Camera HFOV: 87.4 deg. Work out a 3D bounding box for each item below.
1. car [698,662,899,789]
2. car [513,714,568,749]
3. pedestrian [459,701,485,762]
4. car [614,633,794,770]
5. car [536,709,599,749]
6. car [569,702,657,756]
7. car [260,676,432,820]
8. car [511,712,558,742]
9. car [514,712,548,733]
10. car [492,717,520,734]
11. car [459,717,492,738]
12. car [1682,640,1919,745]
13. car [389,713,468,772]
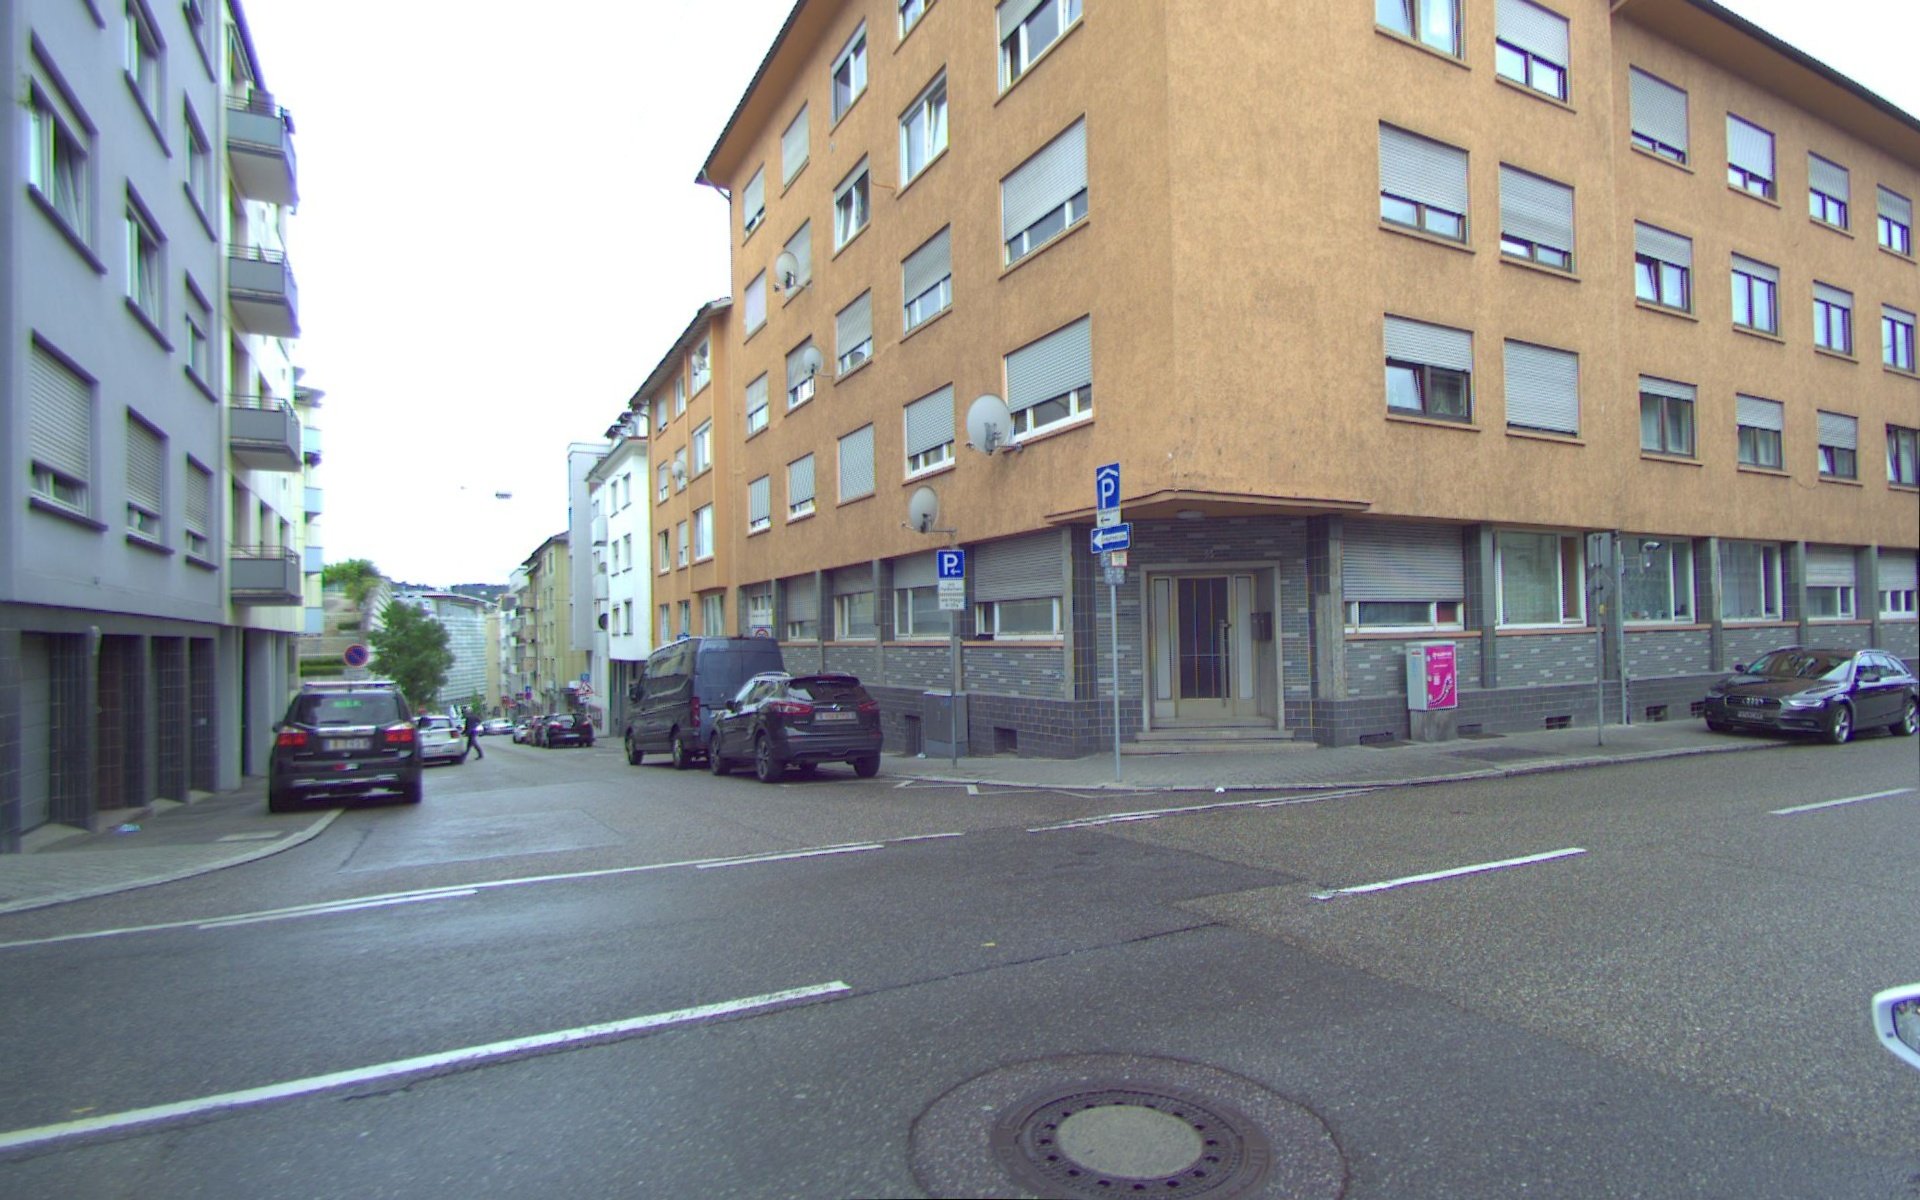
[{"bbox_3d":[-2.687,1.945,15.871,1.906,1.673,3.974,0,-6,-28],"label":"car"},{"bbox_3d":[-19.649,6.121,46.975,1.907,1.478,3.971,1,-6,-30],"label":"car"},{"bbox_3d":[-15.700,4.221,32.297,0.713,1.840,0.600,0,0,-30],"label":"pedestrian"},{"bbox_3d":[-5.526,2.133,21.073,1.962,2.490,5.312,1,-6,-34],"label":"car"},{"bbox_3d":[-16.537,5.413,42.242,1.907,1.478,3.971,1,-6,-30],"label":"car"},{"bbox_3d":[-11.016,4.047,31.712,1.907,1.478,3.971,1,-6,-30],"label":"car"},{"bbox_3d":[-8.945,2.101,14.816,1.907,1.739,3.971,0,-6,-30],"label":"car"},{"bbox_3d":[-23.565,7.000,55.579,1.907,1.478,3.971,1,-6,-30],"label":"car"},{"bbox_3d":[-33.154,9.465,77.590,1.907,1.478,3.971,1,-6,-30],"label":"car"},{"bbox_3d":[-41.563,11.480,91.903,1.907,1.478,3.971,1,-6,-30],"label":"car"},{"bbox_3d":[-36.990,9.697,76.573,1.908,1.478,3.969,1,-6,-31],"label":"car"},{"bbox_3d":[14.458,1.477,17.138,4.497,1.478,1.882,0,-1,-31],"label":"car"},{"bbox_3d":[-15.582,4.114,29.359,1.907,1.478,3.971,1,-6,-30],"label":"car"}]
